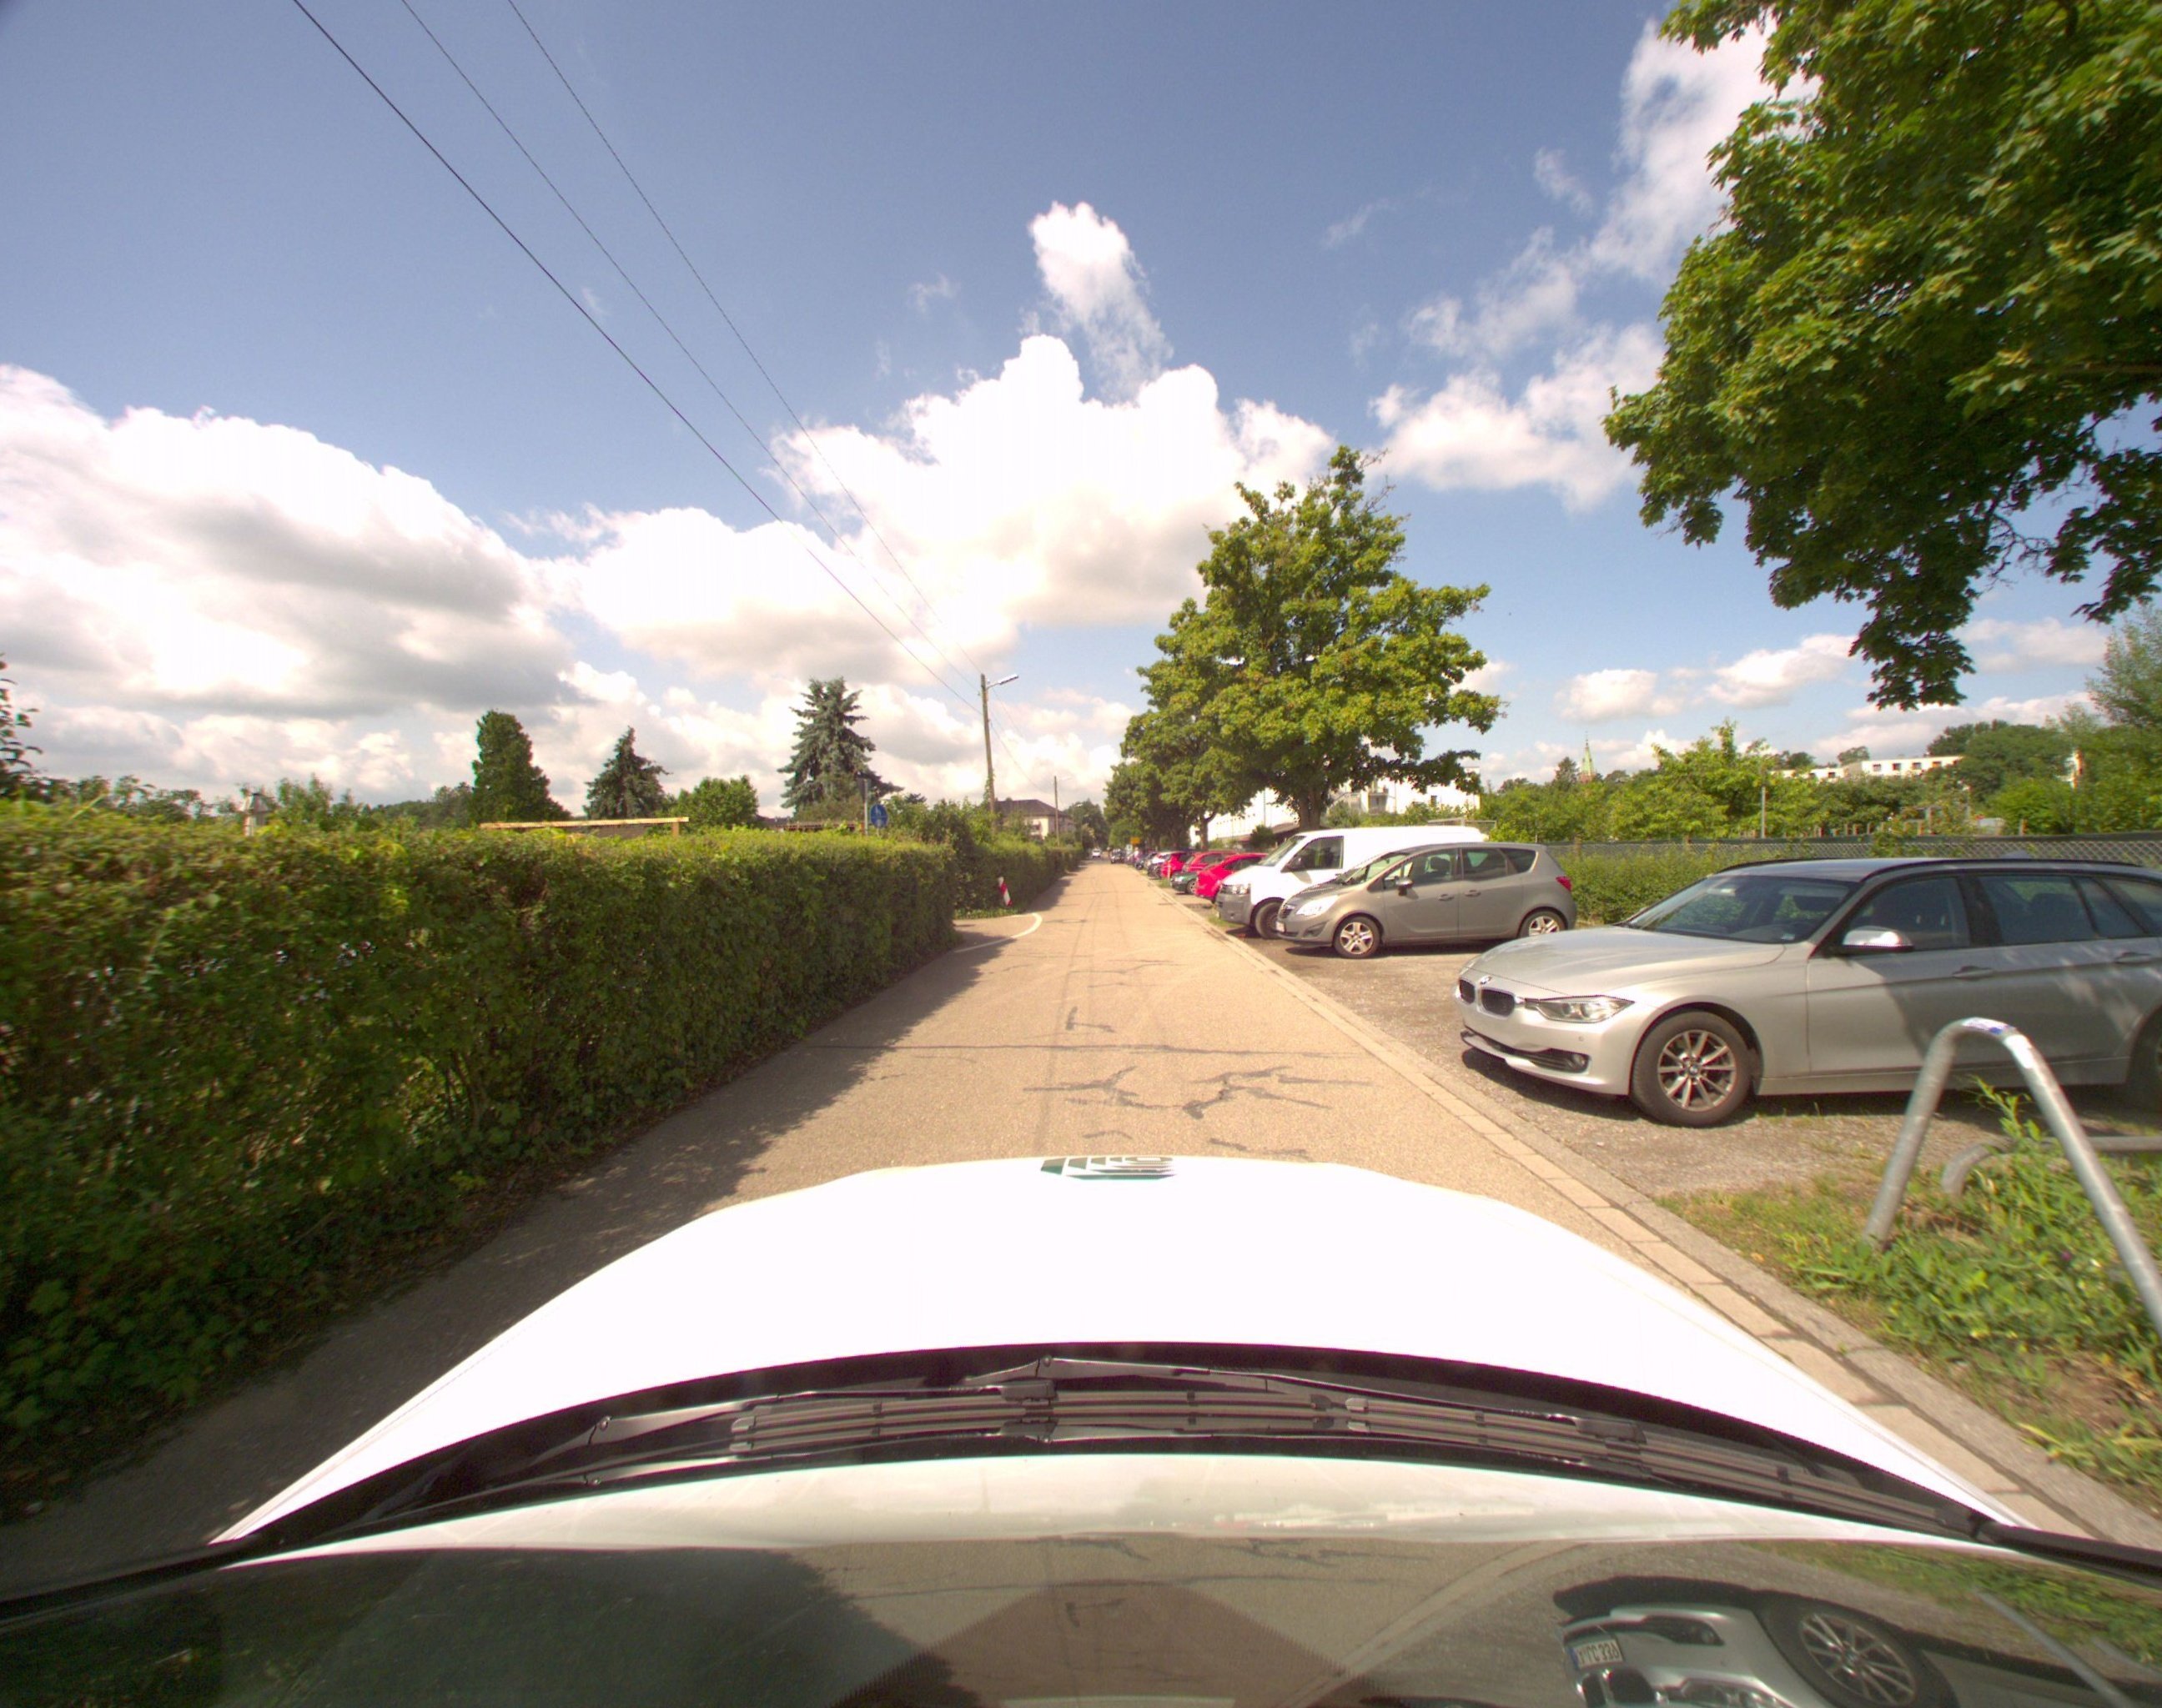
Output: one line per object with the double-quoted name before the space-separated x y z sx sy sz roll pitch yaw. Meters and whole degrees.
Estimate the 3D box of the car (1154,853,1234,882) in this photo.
"car" 5.638 0.659 40.980 3.892 1.423 1.960 0 0 4

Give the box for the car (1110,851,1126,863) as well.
"car" 4.567 0.380 99.497 1.655 1.506 4.007 0 0 6

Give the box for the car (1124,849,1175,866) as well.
"car" 6.258 0.343 74.669 4.534 1.578 1.808 0 0 0

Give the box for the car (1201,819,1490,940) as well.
"car" 4.716 0.430 15.073 4.620 1.886 2.111 -2 0 -1

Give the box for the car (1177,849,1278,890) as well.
"car" 5.831 0.611 32.658 3.751 1.574 1.870 0 0 1

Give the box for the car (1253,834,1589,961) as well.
"car" 4.933 0.599 12.323 4.228 1.592 2.001 -2 0 1

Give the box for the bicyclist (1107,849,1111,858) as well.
"bicyclist" 5.824 -0.116 167.174 0.656 1.852 1.044 -3 0 4

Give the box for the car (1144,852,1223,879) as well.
"car" 5.523 0.601 44.152 4.053 1.455 1.869 0 0 -1

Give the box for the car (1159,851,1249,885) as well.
"car" 5.593 0.642 37.465 3.968 1.519 1.857 0 0 4

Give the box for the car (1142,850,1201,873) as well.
"car" 6.069 0.497 54.836 3.713 1.540 1.848 0 0 -2

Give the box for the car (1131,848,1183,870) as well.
"car" 6.309 0.429 68.068 4.139 1.637 1.879 -2 0 1

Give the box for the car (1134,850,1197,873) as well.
"car" 5.890 0.514 57.423 4.287 1.594 2.000 0 0 0

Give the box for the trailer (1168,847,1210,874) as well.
"trailer" 6.860 0.408 51.934 2.444 1.720 1.517 0 1 -3

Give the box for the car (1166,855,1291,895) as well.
"car" 5.369 0.744 29.940 4.228 1.428 1.906 0 0 -3

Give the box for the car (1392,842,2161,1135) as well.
"car" 4.708 0.696 5.367 4.566 1.466 1.999 -1 0 -2

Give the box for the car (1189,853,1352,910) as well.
"car" 5.178 0.736 22.717 4.166 1.504 1.879 0 0 2

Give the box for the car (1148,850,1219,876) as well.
"car" 5.982 0.536 47.752 4.046 1.511 1.960 0 0 4

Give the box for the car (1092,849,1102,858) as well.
"car" 3.311 -0.111 168.033 1.894 1.814 4.004 0 0 4
